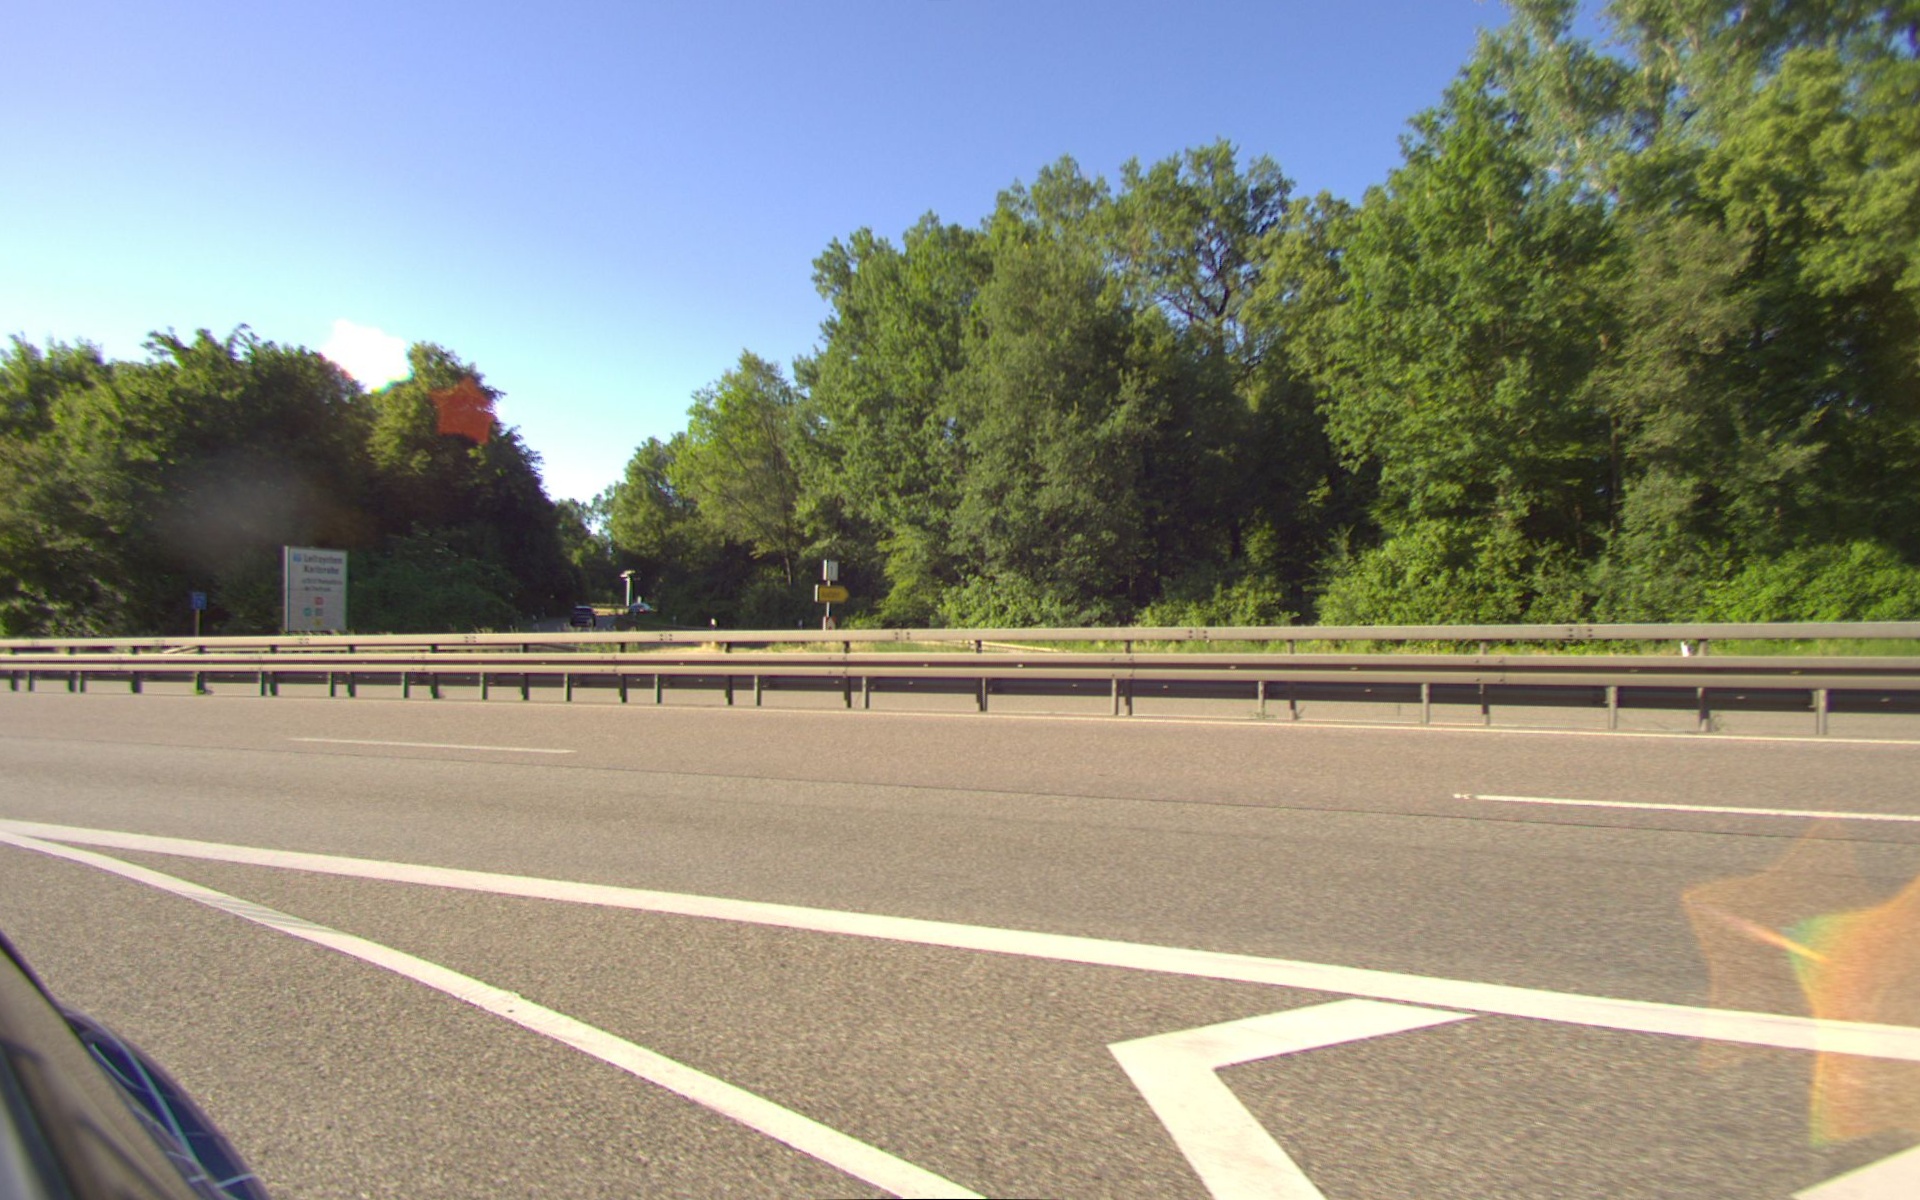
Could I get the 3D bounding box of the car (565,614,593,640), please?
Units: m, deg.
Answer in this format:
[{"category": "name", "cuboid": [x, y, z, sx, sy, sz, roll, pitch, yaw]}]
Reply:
[{"category": "car", "cuboid": [-28.926, 2.004, 76.801, 1.965, 1.874, 4.680, 0, 0, -21]}]
